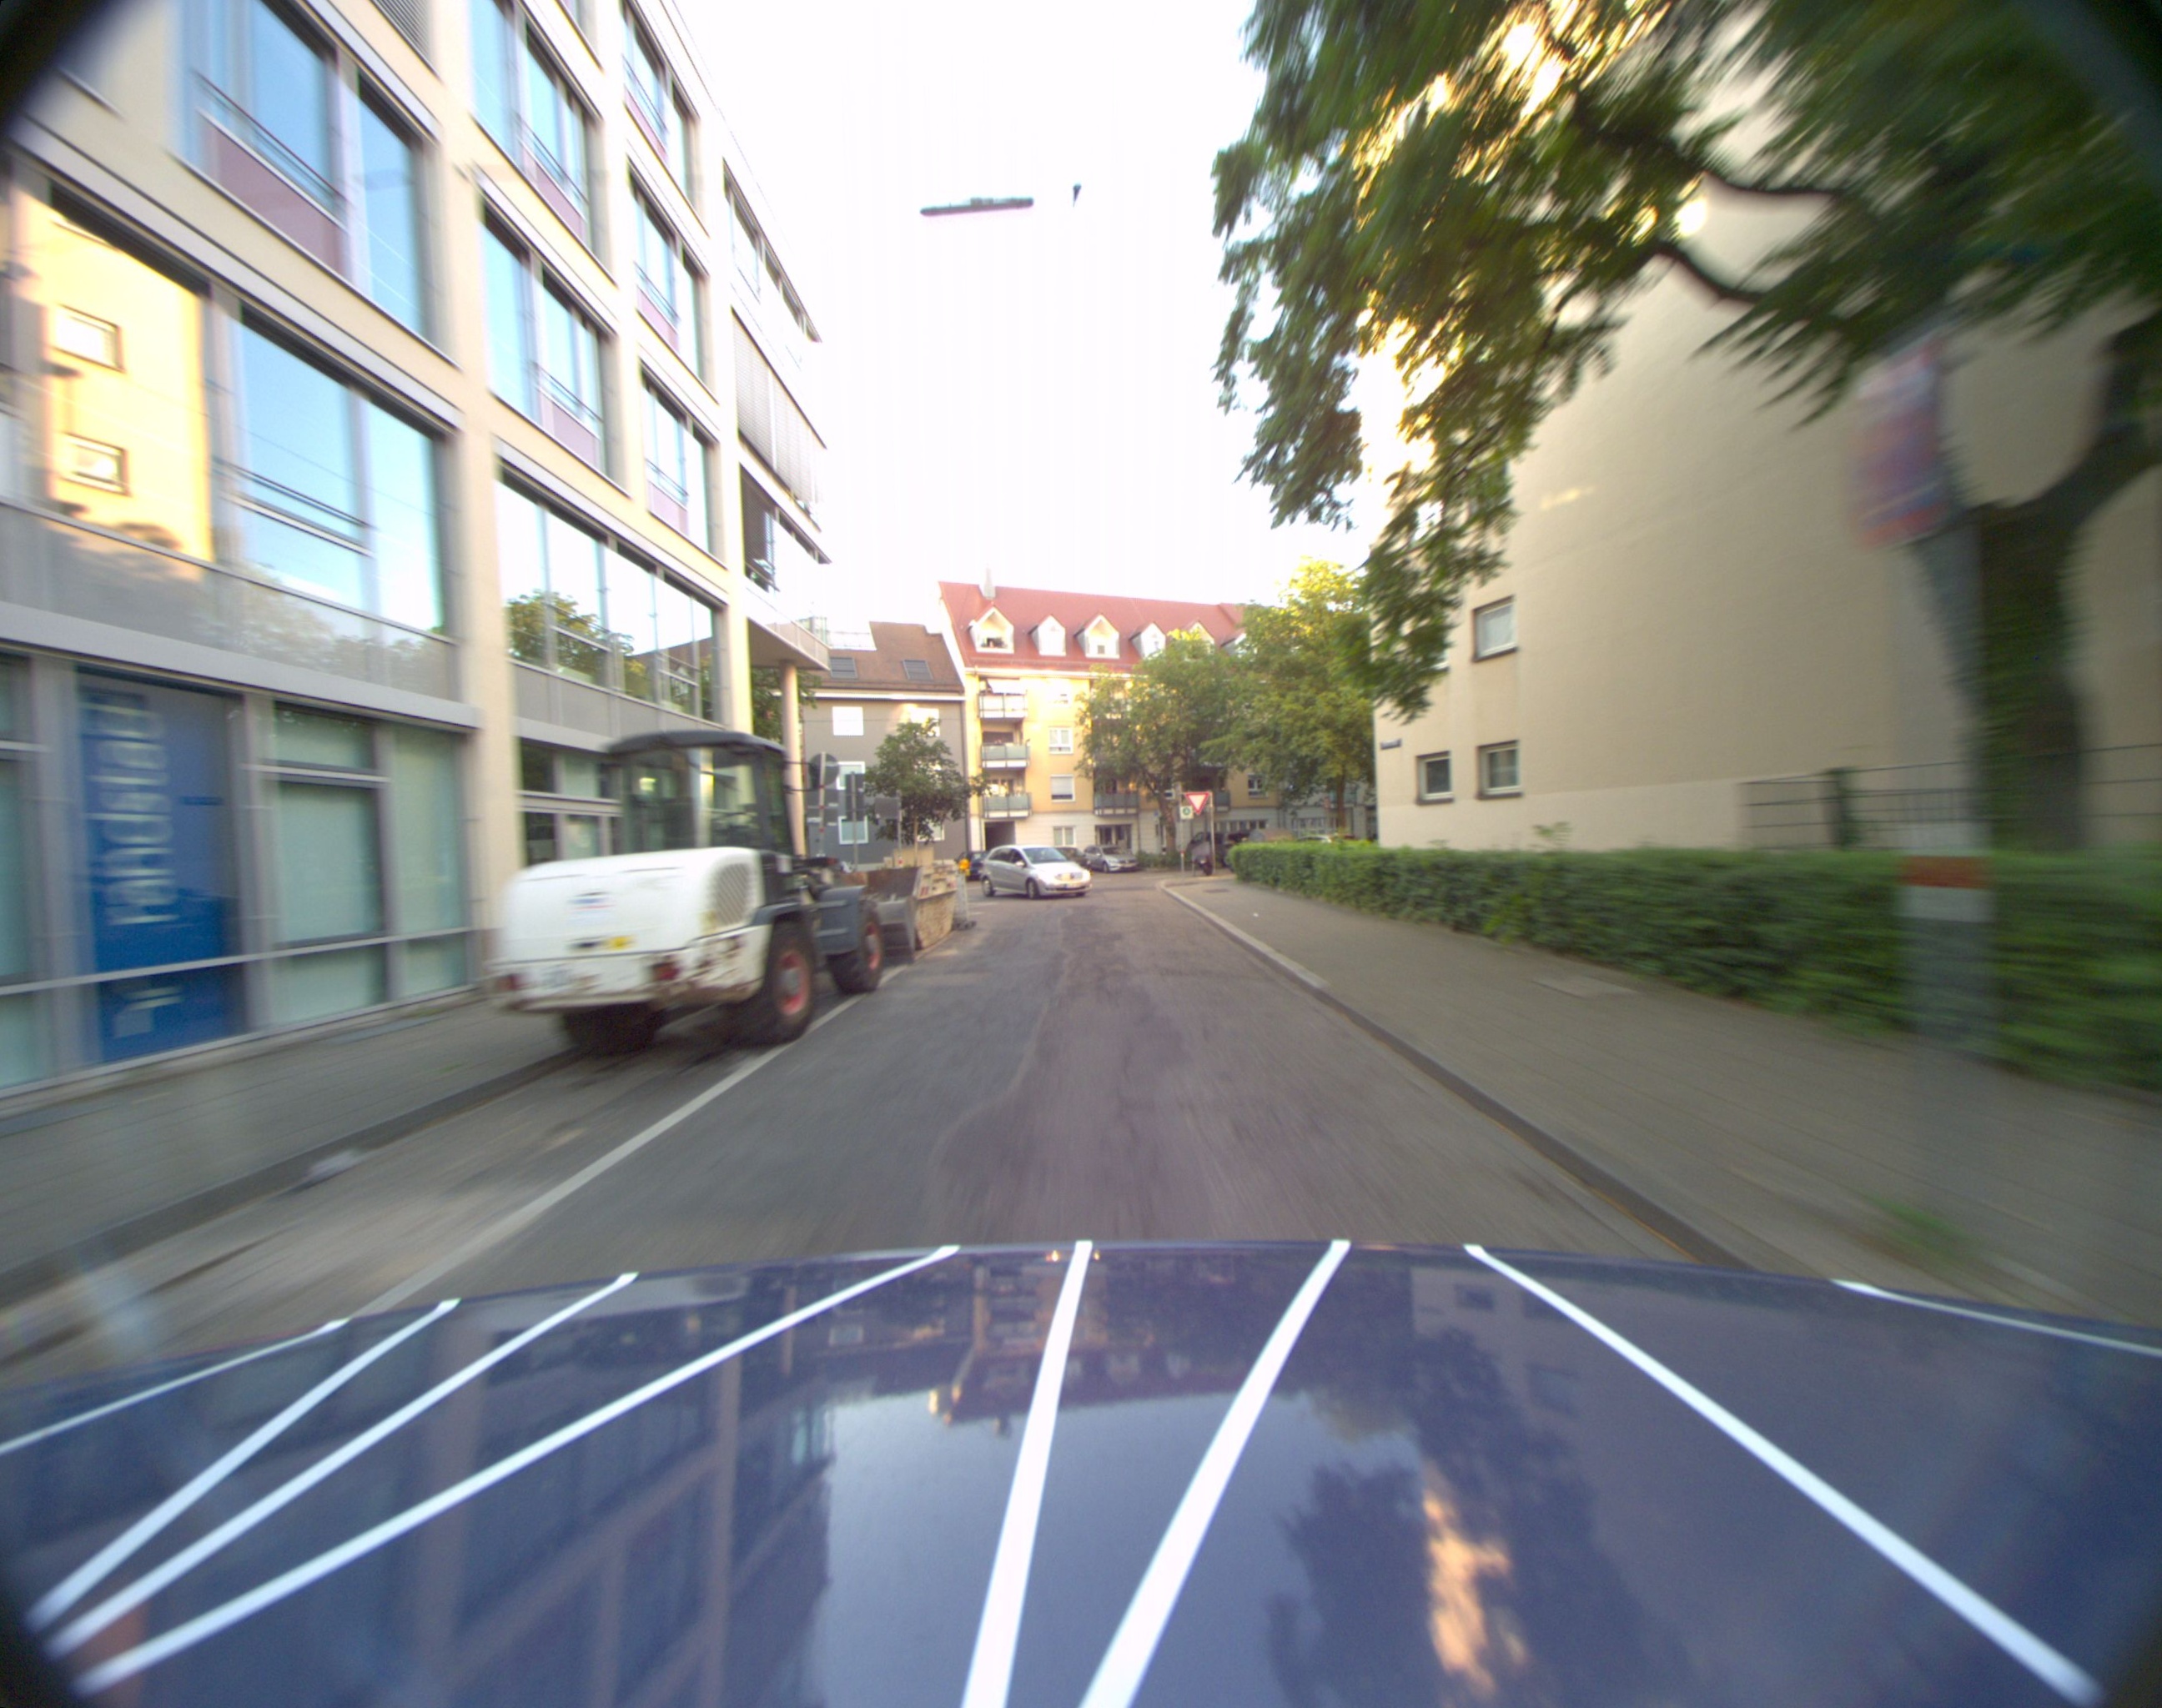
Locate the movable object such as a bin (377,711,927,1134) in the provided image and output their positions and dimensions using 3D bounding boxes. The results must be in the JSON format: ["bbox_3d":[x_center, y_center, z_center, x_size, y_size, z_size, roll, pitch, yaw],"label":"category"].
[{"bbox_3d":[-3.373,0.407,7.820,2.021,2.608,5.750,-5,1,2],"label":"movable object such as a bin"}]

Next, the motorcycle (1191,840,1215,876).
[{"bbox_3d":[4.894,0.151,30.478,0.858,1.345,1.960,-2,1,10],"label":"motorcycle"}]

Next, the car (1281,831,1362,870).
[{"bbox_3d":[10.173,-0.150,32.390,1.634,1.499,3.495,-3,1,-15],"label":"car"}]

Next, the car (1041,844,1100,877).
[{"bbox_3d":[-0.608,0.293,40.156,1.749,1.494,4.237,-2,3,-21],"label":"car"}]

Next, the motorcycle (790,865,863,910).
[{"bbox_3d":[-8.367,1.098,24.958,2.203,1.387,0.801,-2,0,21],"label":"motorcycle"}]

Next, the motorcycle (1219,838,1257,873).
[{"bbox_3d":[6.438,0.059,31.277,0.572,1.398,1.968,-3,1,-18],"label":"motorcycle"}]

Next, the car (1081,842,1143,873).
[{"bbox_3d":[1.646,0.130,41.634,1.829,1.460,4.320,-2,3,-21],"label":"car"}]

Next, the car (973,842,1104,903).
[{"bbox_3d":[-1.377,0.503,22.901,1.808,1.608,4.261,-4,2,-37],"label":"car"}]

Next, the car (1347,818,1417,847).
[{"bbox_3d":[19.300,-1.378,48.858,2.001,1.718,3.992,-3,3,-19],"label":"car"}]

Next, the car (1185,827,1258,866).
[{"bbox_3d":[8.046,-0.507,43.853,2.231,2.065,4.320,-2,3,-21],"label":"car"}]

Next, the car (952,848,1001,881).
[{"bbox_3d":[-5.369,0.493,38.711,1.634,1.443,3.849,-2,3,-21],"label":"car"}]
